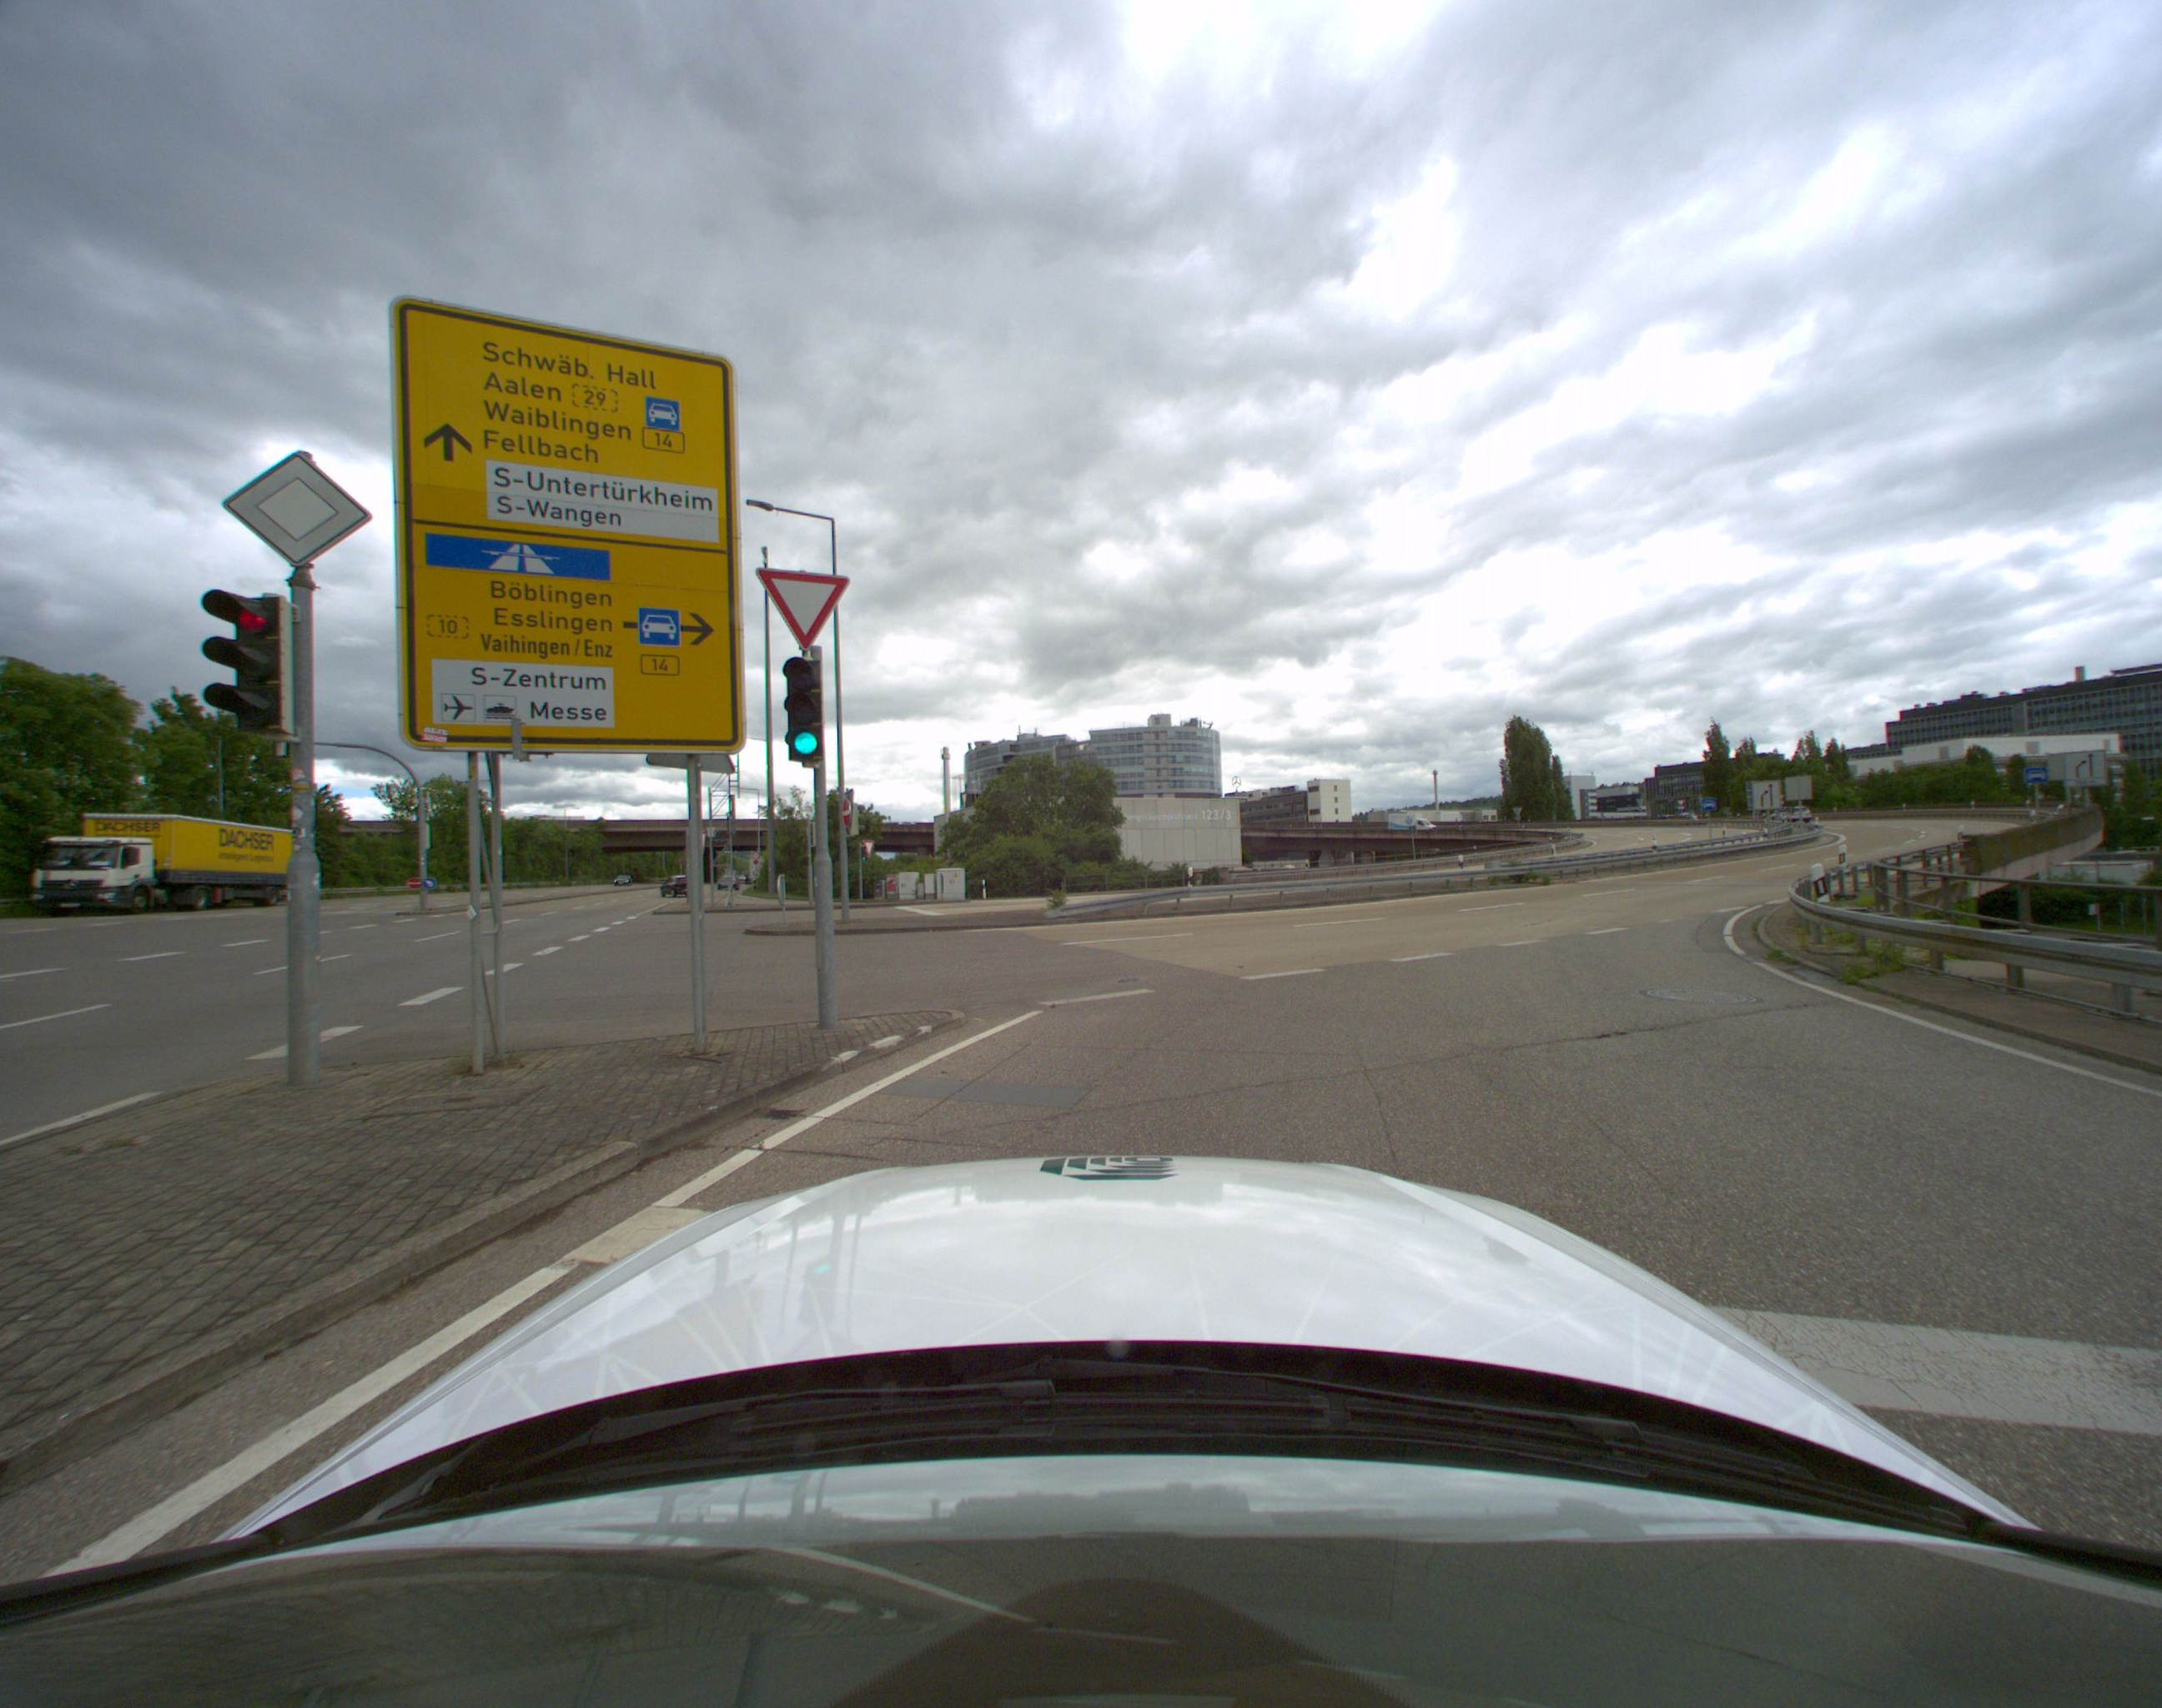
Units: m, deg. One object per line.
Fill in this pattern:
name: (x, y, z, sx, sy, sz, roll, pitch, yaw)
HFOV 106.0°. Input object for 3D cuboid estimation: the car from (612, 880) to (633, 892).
car: (-63.522, 4.386, 112.806, 1.868, 1.383, 3.843, 2, 0, -20)

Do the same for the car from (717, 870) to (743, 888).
car: (-34.752, 2.432, 80.686, 1.915, 1.662, 4.716, 2, -1, -19)

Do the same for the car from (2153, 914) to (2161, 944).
car: (69.579, 4.817, 49.598, 2.017, 1.862, 4.826, 1, 1, -22)

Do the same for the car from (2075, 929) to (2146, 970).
car: (52.416, 4.825, 41.452, 4.014, 1.534, 1.808, -2, 0, -32)

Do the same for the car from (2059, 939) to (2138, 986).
car: (47.351, 4.996, 37.880, 4.210, 1.534, 1.808, -2, 0, -32)

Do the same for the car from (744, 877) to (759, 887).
car: (-51.995, 4.435, 128.441, 2.000, 1.464, 4.083, 0, -3, -19)

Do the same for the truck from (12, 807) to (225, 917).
truck: (-39.363, 0.349, 33.702, 2.883, 4.085, 6.438, 1, -1, -22)

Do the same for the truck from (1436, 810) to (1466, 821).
truck: (78.020, -8.036, 171.770, 5.619, 2.164, 1.994, 0, -1, -8)

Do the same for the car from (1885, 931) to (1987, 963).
car: (48.888, 5.267, 46.626, 1.835, 1.354, 3.820, -2, 0, -36)

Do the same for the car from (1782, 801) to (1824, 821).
car: (72.280, -4.317, 81.645, 1.709, 1.737, 4.580, -2, 0, 22)

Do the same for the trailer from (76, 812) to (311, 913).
trailer: (-41.464, 0.427, 38.827, 2.883, 4.085, 11.340, 1, -1, -22)

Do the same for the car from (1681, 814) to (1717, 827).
car: (76.251, -4.168, 100.506, 1.714, 1.400, 4.076, -2, 0, 8)

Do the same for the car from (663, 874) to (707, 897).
car: (-26.396, 2.070, 54.222, 1.924, 1.422, 3.949, 3, -3, -37)

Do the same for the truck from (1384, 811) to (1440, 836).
truck: (48.252, -4.408, 118.734, 2.343, 3.269, 7.260, 1, -2, -43)

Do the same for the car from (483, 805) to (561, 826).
car: (-100.467, -6.941, 146.561, 11.098, 3.030, 3.487, 3, -1, -3)
